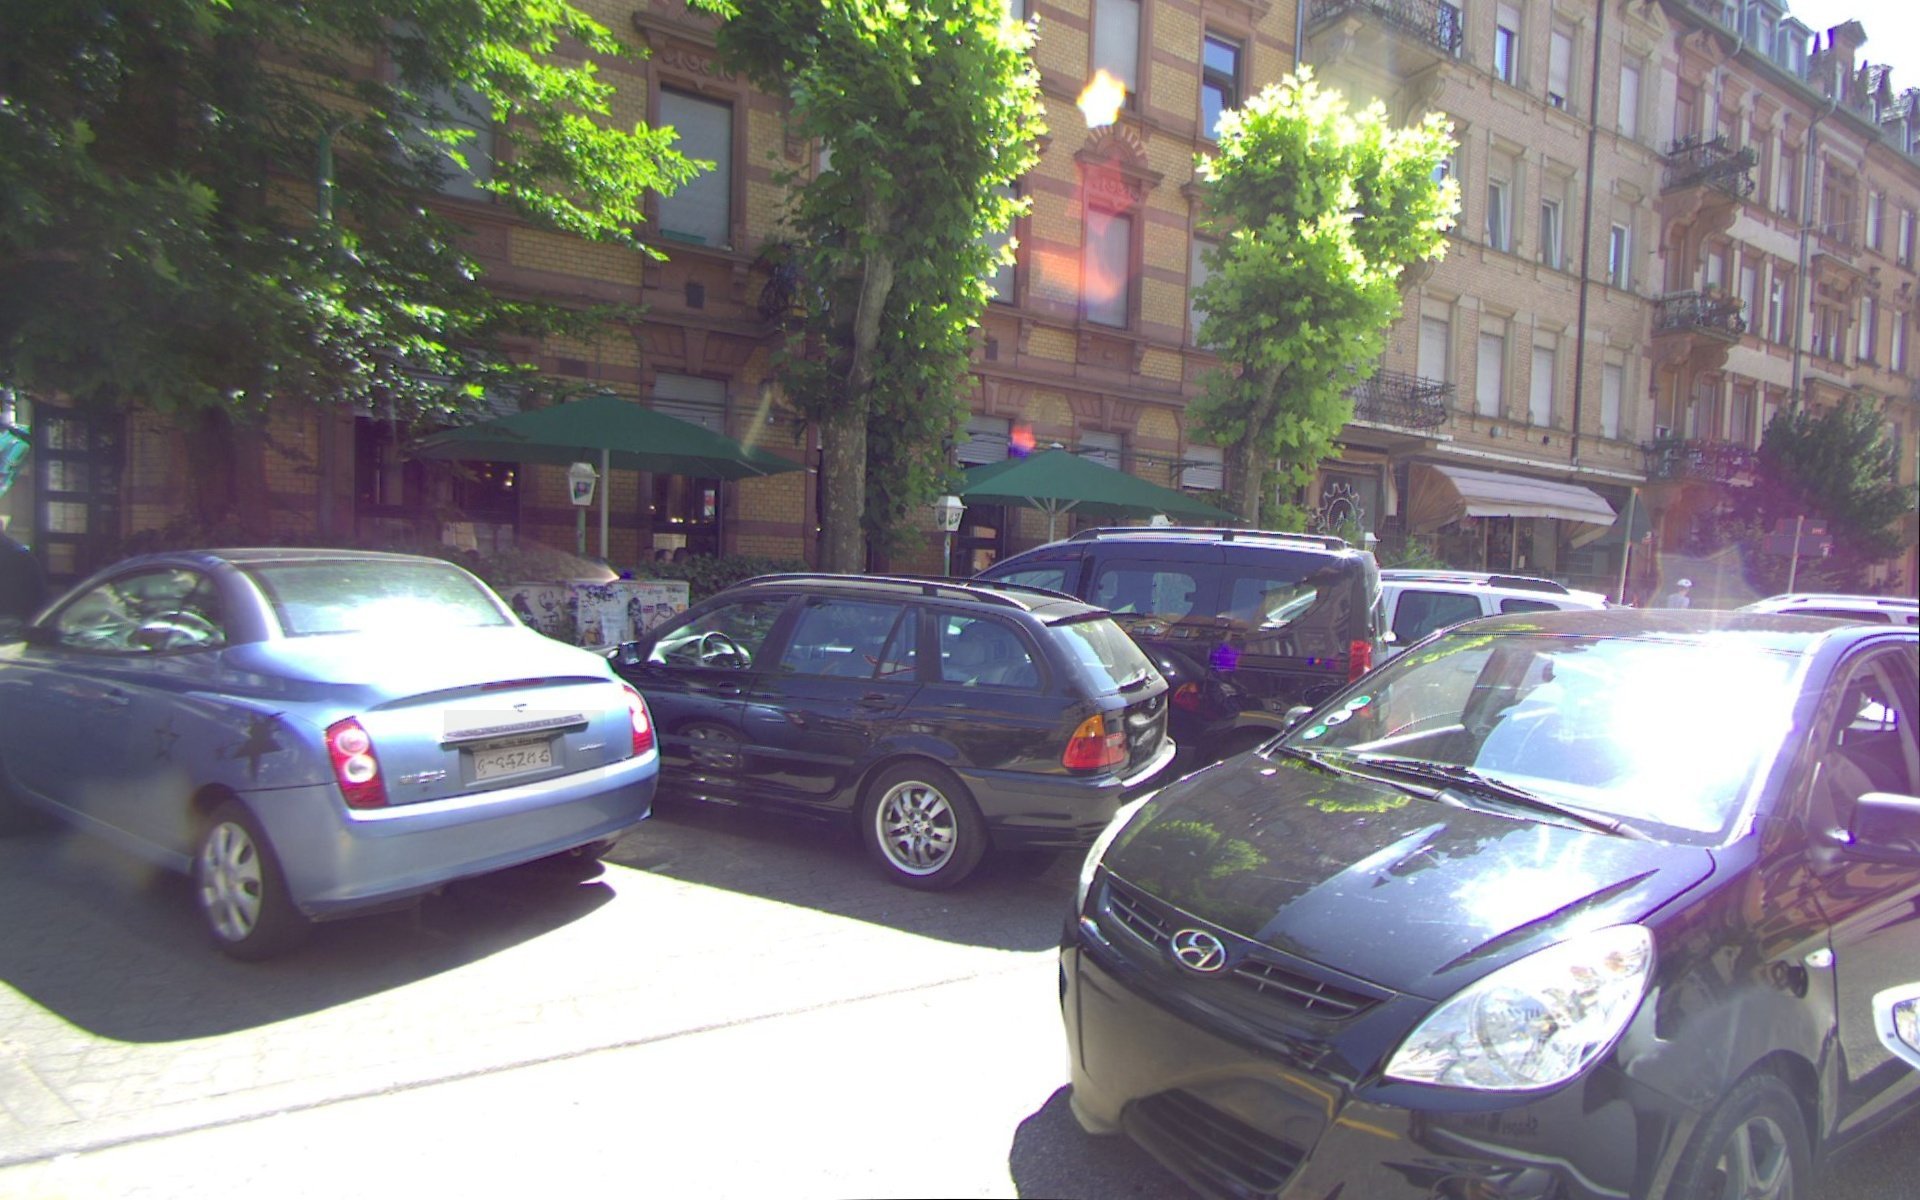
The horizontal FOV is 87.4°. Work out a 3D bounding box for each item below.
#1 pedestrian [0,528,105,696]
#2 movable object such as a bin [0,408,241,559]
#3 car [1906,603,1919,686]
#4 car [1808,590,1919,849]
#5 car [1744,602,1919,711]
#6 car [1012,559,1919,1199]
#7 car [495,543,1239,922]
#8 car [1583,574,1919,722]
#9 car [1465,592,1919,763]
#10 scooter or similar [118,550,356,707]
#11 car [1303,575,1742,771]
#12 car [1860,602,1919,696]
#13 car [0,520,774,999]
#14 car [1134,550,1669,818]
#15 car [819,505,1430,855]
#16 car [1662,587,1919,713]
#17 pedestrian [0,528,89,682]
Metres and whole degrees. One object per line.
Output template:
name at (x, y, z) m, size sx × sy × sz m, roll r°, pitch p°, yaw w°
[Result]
pedestrian at (-7.147, 0.075, 7.803) m, size 0.547 × 1.236 × 0.598 m, roll 3°, pitch 2°, yaw 26°
movable object such as a bin at (-22.436, -2.773, 25.517) m, size 3.250 × 3.256 × 6.749 m, roll 3°, pitch 2°, yaw 3°
car at (20.962, 0.990, 19.230) m, size 3.860 × 1.641 × 1.859 m, roll 4°, pitch 2°, yaw 37°
car at (8.188, 0.817, 7.305) m, size 4.326 × 1.667 × 1.746 m, roll 2°, pitch -1°, yaw -30°
car at (15.867, 0.953, 17.074) m, size 3.860 × 1.641 × 1.859 m, roll 4°, pitch 2°, yaw 37°
car at (2.312, 0.686, 3.274) m, size 3.953 × 1.463 × 1.746 m, roll 2°, pitch 1°, yaw -30°
car at (-0.543, 0.502, 6.001) m, size 3.924 × 1.431 × 1.969 m, roll 5°, pitch 3°, yaw 25°
car at (10.780, 0.569, 13.350) m, size 3.846 × 1.641 × 1.865 m, roll 3°, pitch 2°, yaw 20°
car at (8.062, 0.756, 11.423) m, size 3.845 × 1.490 × 1.866 m, roll 3°, pitch 2°, yaw 19°
scooter or similar at (-5.502, 0.224, 7.710) m, size 1.448 × 1.136 × 0.277 m, roll 2°, pitch 4°, yaw -22°
car at (5.586, 0.601, 10.318) m, size 3.567 × 1.477 × 1.621 m, roll 5°, pitch 4°, yaw 31°
car at (18.702, 0.968, 17.797) m, size 3.860 × 1.641 × 1.859 m, roll 4°, pitch 2°, yaw 37°
car at (-3.123, 0.407, 5.010) m, size 3.928 × 1.394 × 1.996 m, roll 5°, pitch 4°, yaw 30°
car at (3.754, 0.519, 8.864) m, size 3.936 × 1.680 × 1.753 m, roll 6°, pitch 4°, yaw 37°
car at (1.158, 0.355, 7.256) m, size 3.925 × 1.829 × 1.767 m, roll 5°, pitch 4°, yaw 25°
car at (13.296, 0.716, 15.551) m, size 3.860 × 1.641 × 1.859 m, roll 4°, pitch 2°, yaw 37°
pedestrian at (-7.776, 0.025, 8.380) m, size 0.547 × 1.236 × 0.598 m, roll 3°, pitch 2°, yaw 26°
